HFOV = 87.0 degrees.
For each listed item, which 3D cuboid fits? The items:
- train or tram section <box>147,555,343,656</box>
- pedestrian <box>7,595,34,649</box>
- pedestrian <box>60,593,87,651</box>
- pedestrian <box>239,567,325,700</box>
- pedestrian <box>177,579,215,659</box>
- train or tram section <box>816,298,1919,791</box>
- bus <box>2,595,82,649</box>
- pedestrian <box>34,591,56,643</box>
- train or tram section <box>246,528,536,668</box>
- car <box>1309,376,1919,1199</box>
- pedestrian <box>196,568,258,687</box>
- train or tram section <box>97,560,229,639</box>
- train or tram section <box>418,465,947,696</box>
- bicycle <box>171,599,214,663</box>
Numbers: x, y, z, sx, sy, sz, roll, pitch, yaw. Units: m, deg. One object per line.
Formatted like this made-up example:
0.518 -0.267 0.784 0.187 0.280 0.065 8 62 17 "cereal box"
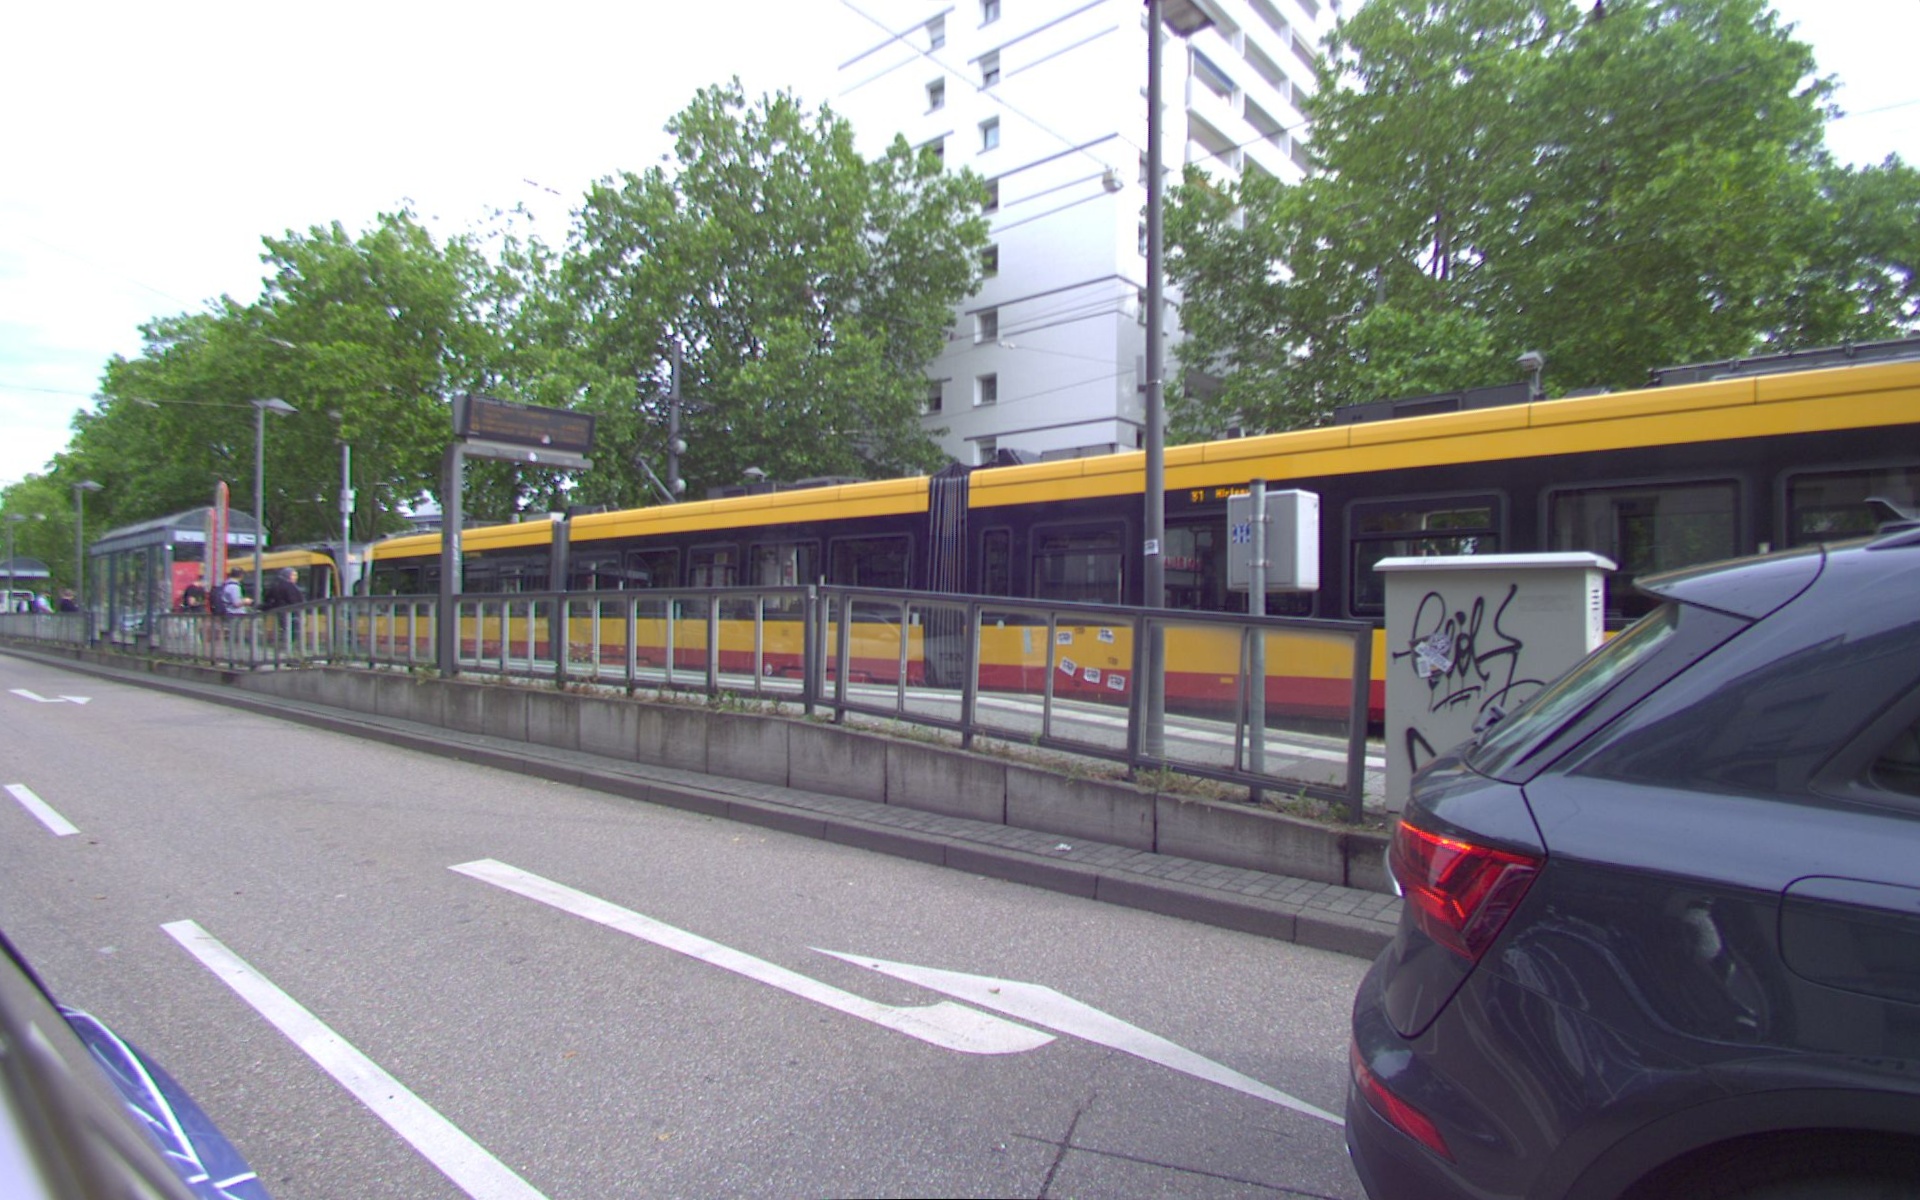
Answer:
-30.128 0.216 42.101 15.764 3.558 3.028 0 0 41 "train or tram section"
-36.296 0.844 39.105 0.587 2.029 0.668 -1 0 38 "pedestrian"
-25.413 0.614 29.012 0.730 1.645 0.506 -1 0 42 "pedestrian"
-10.608 0.519 15.854 0.808 2.029 0.754 -1 0 4 "pedestrian"
-15.903 0.386 21.058 0.471 1.645 0.526 -1 0 39 "pedestrian"
4.754 -0.391 11.446 15.841 3.615 3.028 0 0 41 "train or tram section"
-37.199 0.853 40.983 3.998 2.029 1.973 0 0 41 "bus"
-28.984 0.534 32.070 0.392 1.645 0.474 -1 0 42 "pedestrian"
-18.467 -0.012 31.865 15.287 3.558 3.028 0 0 41 "train or tram section"
2.827 0.533 0.964 4.354 1.613 1.861 -1 0 40 "car"
-12.828 0.466 17.736 0.742 2.029 0.821 -1 0 -26 "pedestrian"
-40.737 0.006 51.477 12.534 3.588 3.060 0 0 41 "train or tram section"
-6.979 -0.268 21.753 15.287 3.558 3.028 0 0 41 "train or tram section"
-15.313 0.610 20.194 1.289 1.231 0.414 -1 0 41 "bicycle"
